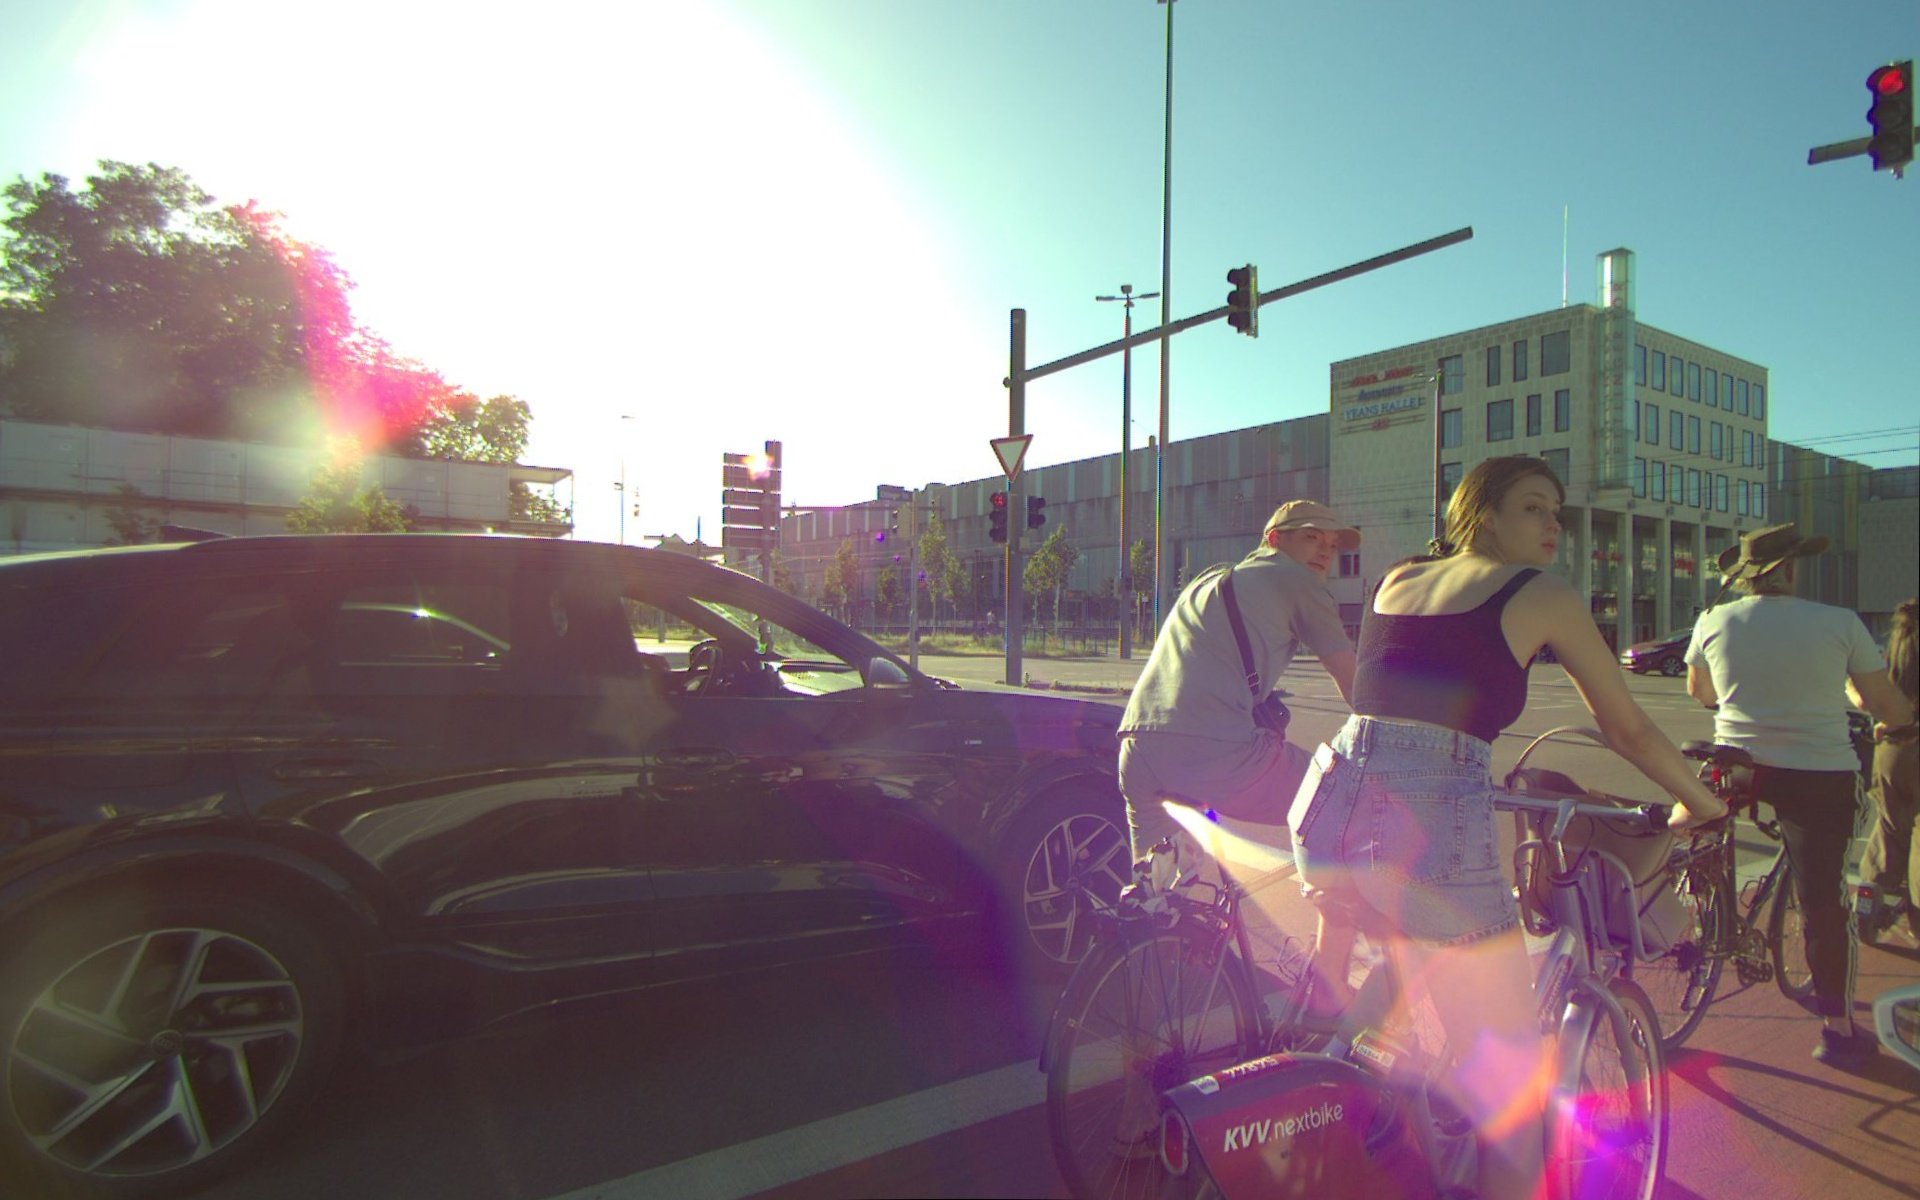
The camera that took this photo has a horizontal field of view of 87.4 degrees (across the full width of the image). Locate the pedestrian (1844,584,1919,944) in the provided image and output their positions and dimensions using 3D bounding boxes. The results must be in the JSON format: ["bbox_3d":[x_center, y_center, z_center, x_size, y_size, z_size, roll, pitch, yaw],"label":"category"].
[{"bbox_3d":[4.641,0.762,4.810,0.568,1.654,0.543,2,0,-45],"label":"pedestrian"}]

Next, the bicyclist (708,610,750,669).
[{"bbox_3d":[-8.328,1.402,36.225,1.078,2.040,0.961,2,0,15],"label":"bicyclist"}]

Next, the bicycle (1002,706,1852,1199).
[{"bbox_3d":[0.995,0.888,1.942,1.811,1.234,0.612,1,0,-33],"label":"bicycle"}]

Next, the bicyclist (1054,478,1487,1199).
[{"bbox_3d":[0.811,0.558,2.678,0.833,1.627,0.712,1,0,-32],"label":"bicyclist"}]

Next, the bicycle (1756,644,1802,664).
[{"bbox_3d":[54.285,3.594,66.572,0.605,1.238,2.295,1,-1,-31],"label":"bicycle"}]

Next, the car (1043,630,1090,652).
[{"bbox_3d":[8.736,3.367,82.762,1.643,1.606,3.871,2,0,-36],"label":"car"}]

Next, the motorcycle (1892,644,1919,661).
[{"bbox_3d":[70.743,3.923,74.862,0.508,1.223,1.786,1,0,-44],"label":"motorcycle"}]

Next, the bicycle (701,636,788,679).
[{"bbox_3d":[-7.748,2.055,36.076,2.905,1.388,0.970,2,0,16],"label":"bicycle"}]

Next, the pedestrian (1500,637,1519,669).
[{"bbox_3d":[33.228,3.178,60.694,0.780,1.910,0.709,2,0,-37],"label":"pedestrian"}]

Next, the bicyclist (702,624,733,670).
[{"bbox_3d":[-11.076,2.137,45.865,0.985,2.040,1.088,2,0,-40],"label":"bicyclist"}]

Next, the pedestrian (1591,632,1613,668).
[{"bbox_3d":[36.975,2.874,57.835,0.767,2.040,0.876,2,0,-41],"label":"pedestrian"}]

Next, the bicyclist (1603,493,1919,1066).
[{"bbox_3d":[2.877,0.556,3.557,0.856,1.743,0.657,2,0,-30],"label":"bicyclist"}]

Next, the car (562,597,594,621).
[{"bbox_3d":[-32.933,0.742,86.515,1.785,1.908,3.964,2,0,-33],"label":"car"}]

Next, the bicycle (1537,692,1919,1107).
[{"bbox_3d":[2.887,0.961,3.683,1.810,1.171,0.482,2,0,-31],"label":"bicycle"}]

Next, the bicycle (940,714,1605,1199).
[{"bbox_3d":[0.948,0.952,2.774,1.949,1.124,0.643,1,0,-33],"label":"bicycle"}]

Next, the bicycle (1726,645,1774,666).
[{"bbox_3d":[48.701,3.401,61.965,0.605,1.238,2.295,1,-1,-31],"label":"bicycle"}]

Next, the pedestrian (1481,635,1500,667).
[{"bbox_3d":[32.443,3.125,61.418,0.710,1.910,0.779,2,0,-36],"label":"pedestrian"}]

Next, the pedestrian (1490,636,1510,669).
[{"bbox_3d":[32.167,3.142,59.873,0.710,1.910,0.779,2,0,-36],"label":"pedestrian"}]

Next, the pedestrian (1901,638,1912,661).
[{"bbox_3d":[71.101,3.687,75.462,0.579,1.702,0.516,1,1,-43],"label":"pedestrian"}]

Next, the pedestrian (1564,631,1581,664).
[{"bbox_3d":[35.555,2.738,58.302,0.784,1.868,0.862,0,-1,32],"label":"pedestrian"}]

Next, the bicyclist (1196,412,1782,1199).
[{"bbox_3d":[1.012,0.536,1.947,0.866,1.600,0.638,1,0,-33],"label":"bicyclist"}]

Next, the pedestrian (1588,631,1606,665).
[{"bbox_3d":[35.877,2.706,56.588,0.784,1.868,0.863,0,-1,28],"label":"pedestrian"}]

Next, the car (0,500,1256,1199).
[{"bbox_3d":[-1.146,0.631,3.874,4.630,1.656,1.760,1,0,-32],"label":"car"}]

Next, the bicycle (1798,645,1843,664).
[{"bbox_3d":[59.828,3.780,69.858,0.605,1.238,2.295,1,-1,-31],"label":"bicycle"}]

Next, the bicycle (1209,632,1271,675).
[{"bbox_3d":[8.073,1.539,29.011,1.617,1.170,0.497,2,0,2],"label":"bicycle"}]

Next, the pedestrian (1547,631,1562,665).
[{"bbox_3d":[34.246,2.741,57.855,0.705,1.910,0.785,2,0,33],"label":"pedestrian"}]

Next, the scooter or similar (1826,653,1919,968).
[{"bbox_3d":[4.500,0.925,4.718,1.186,1.311,0.541,2,0,-45],"label":"scooter or similar"}]

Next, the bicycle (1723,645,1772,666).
[{"bbox_3d":[48.051,3.378,61.344,0.605,1.238,2.295,1,-1,-31],"label":"bicycle"}]

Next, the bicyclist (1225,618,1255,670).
[{"bbox_3d":[8.091,1.268,28.997,0.699,1.456,0.497,2,0,2],"label":"bicyclist"}]

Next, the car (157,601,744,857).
[{"bbox_3d":[-3.578,0.790,7.499,3.562,1.505,1.485,1,0,-30],"label":"car"}]

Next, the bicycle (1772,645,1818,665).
[{"bbox_3d":[55.524,3.633,66.835,0.605,1.238,2.295,1,-1,-31],"label":"bicycle"}]

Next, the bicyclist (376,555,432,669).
[{"bbox_3d":[-15.809,0.347,28.572,1.292,3.144,0.835,2,0,-32],"label":"bicyclist"}]

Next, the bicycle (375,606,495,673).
[{"bbox_3d":[-15.131,1.103,29.008,3.047,1.835,0.835,0,1,-32],"label":"bicycle"}]

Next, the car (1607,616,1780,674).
[{"bbox_3d":[21.658,1.320,29.778,3.819,1.606,1.660,1,-1,7],"label":"car"}]

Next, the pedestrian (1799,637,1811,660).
[{"bbox_3d":[62.708,3.576,74.553,0.602,1.702,0.549,1,0,-40],"label":"pedestrian"}]

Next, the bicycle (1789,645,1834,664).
[{"bbox_3d":[58.856,3.748,69.434,0.605,1.238,2.295,1,-1,-31],"label":"bicycle"}]

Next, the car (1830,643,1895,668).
[{"bbox_3d":[49.788,3.074,55.415,3.956,1.359,1.621,2,-4,-32],"label":"car"}]

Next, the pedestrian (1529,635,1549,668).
[{"bbox_3d":[34.411,3.057,59.694,0.710,1.910,0.779,2,0,-36],"label":"pedestrian"}]

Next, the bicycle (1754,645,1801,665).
[{"bbox_3d":[52.906,3.544,65.024,0.605,1.238,2.295,1,-1,-31],"label":"bicycle"}]

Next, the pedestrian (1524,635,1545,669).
[{"bbox_3d":[33.402,3.019,58.381,0.710,1.910,0.779,2,0,-36],"label":"pedestrian"}]

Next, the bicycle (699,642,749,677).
[{"bbox_3d":[-10.736,2.674,45.523,0.962,1.388,2.930,2,0,-40],"label":"bicycle"}]
